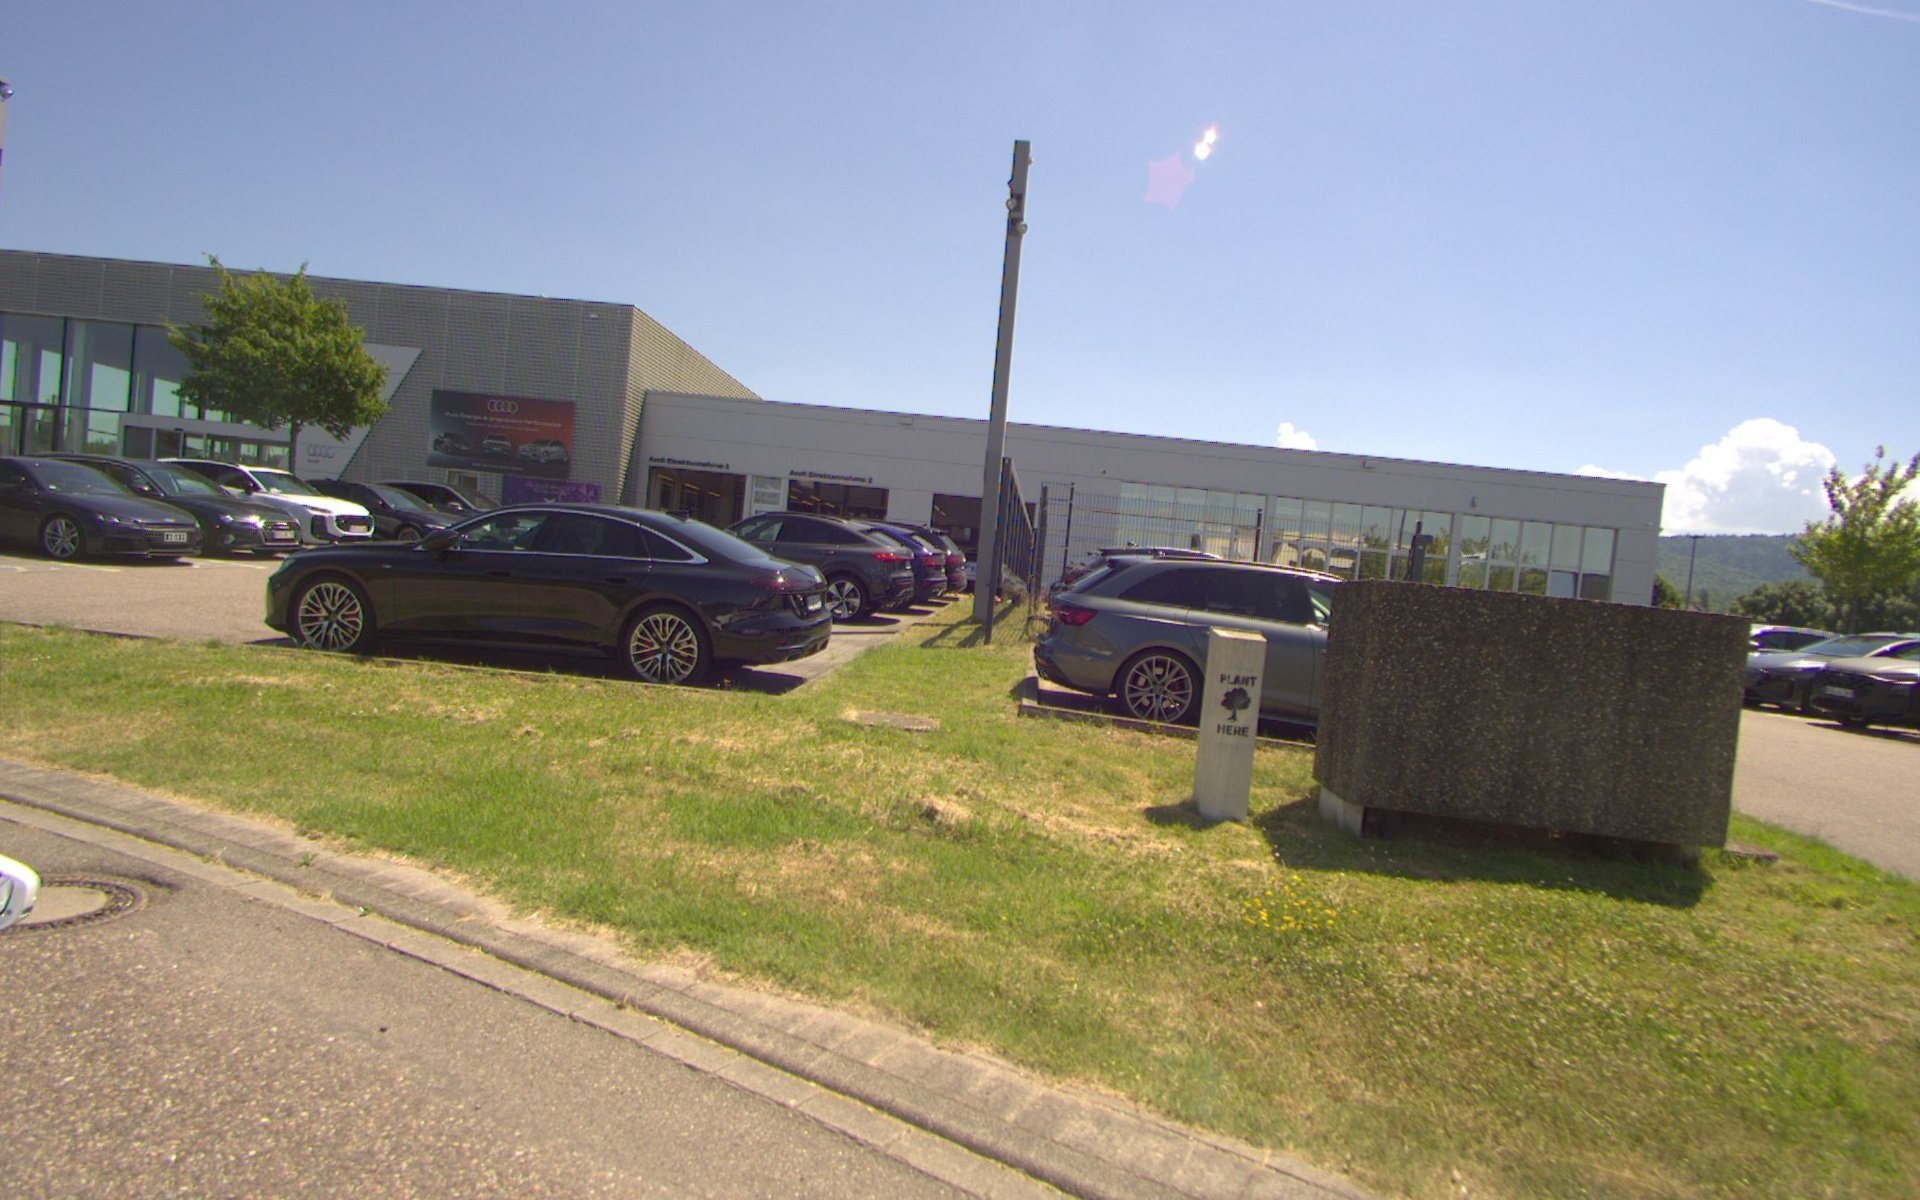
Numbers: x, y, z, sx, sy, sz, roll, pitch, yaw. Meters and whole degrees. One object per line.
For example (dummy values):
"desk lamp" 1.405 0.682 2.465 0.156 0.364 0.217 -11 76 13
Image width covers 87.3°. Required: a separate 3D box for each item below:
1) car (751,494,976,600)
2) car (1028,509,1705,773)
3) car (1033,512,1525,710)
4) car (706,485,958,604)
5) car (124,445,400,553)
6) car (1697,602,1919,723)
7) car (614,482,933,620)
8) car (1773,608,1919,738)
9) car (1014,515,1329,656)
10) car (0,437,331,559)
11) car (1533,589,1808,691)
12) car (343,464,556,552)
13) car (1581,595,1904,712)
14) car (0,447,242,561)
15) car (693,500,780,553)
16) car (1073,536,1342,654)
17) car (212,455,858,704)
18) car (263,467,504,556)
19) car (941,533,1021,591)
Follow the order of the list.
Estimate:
"car" -2.038 -1.181 22.096 4.538 1.768 1.964 6 5 3
"car" 3.076 0.263 8.583 4.851 1.488 1.965 6 3 3
"car" 3.325 0.069 11.327 4.851 1.549 1.823 6 3 3
"car" -2.323 -1.015 19.064 4.333 1.717 1.829 6 2 3
"car" -13.967 -1.989 20.297 4.207 1.635 1.965 6 3 3
"car" 15.687 1.126 17.159 4.538 1.652 1.965 6 3 3
"car" -2.938 -0.776 16.475 4.695 1.665 1.829 6 2 3
"car" 15.005 1.214 14.592 4.538 1.652 1.965 6 3 3
"car" 3.228 -0.262 16.160 4.538 1.652 1.965 6 3 3
"car" -14.091 -1.764 17.623 4.911 1.574 1.965 6 3 3
"car" 15.786 0.843 22.573 4.538 1.652 1.965 6 3 3
"car" -13.537 -2.416 26.835 4.639 1.763 1.965 6 3 3
"car" 15.191 0.986 19.761 4.538 1.652 1.965 6 3 3
"car" -13.542 -1.491 15.028 4.230 1.394 1.965 6 3 3
"car" -8.605 -2.824 39.139 1.930 1.767 4.315 6 4 6
"car" 4.536 -0.137 19.087 4.538 1.652 1.965 6 3 3
"car" -3.564 -0.219 9.006 4.928 1.475 1.883 6 4 3
"car" -12.970 -1.962 22.801 4.289 1.497 1.965 6 3 3
"car" 0.828 -1.381 36.089 1.930 1.767 4.247 7 4 12
